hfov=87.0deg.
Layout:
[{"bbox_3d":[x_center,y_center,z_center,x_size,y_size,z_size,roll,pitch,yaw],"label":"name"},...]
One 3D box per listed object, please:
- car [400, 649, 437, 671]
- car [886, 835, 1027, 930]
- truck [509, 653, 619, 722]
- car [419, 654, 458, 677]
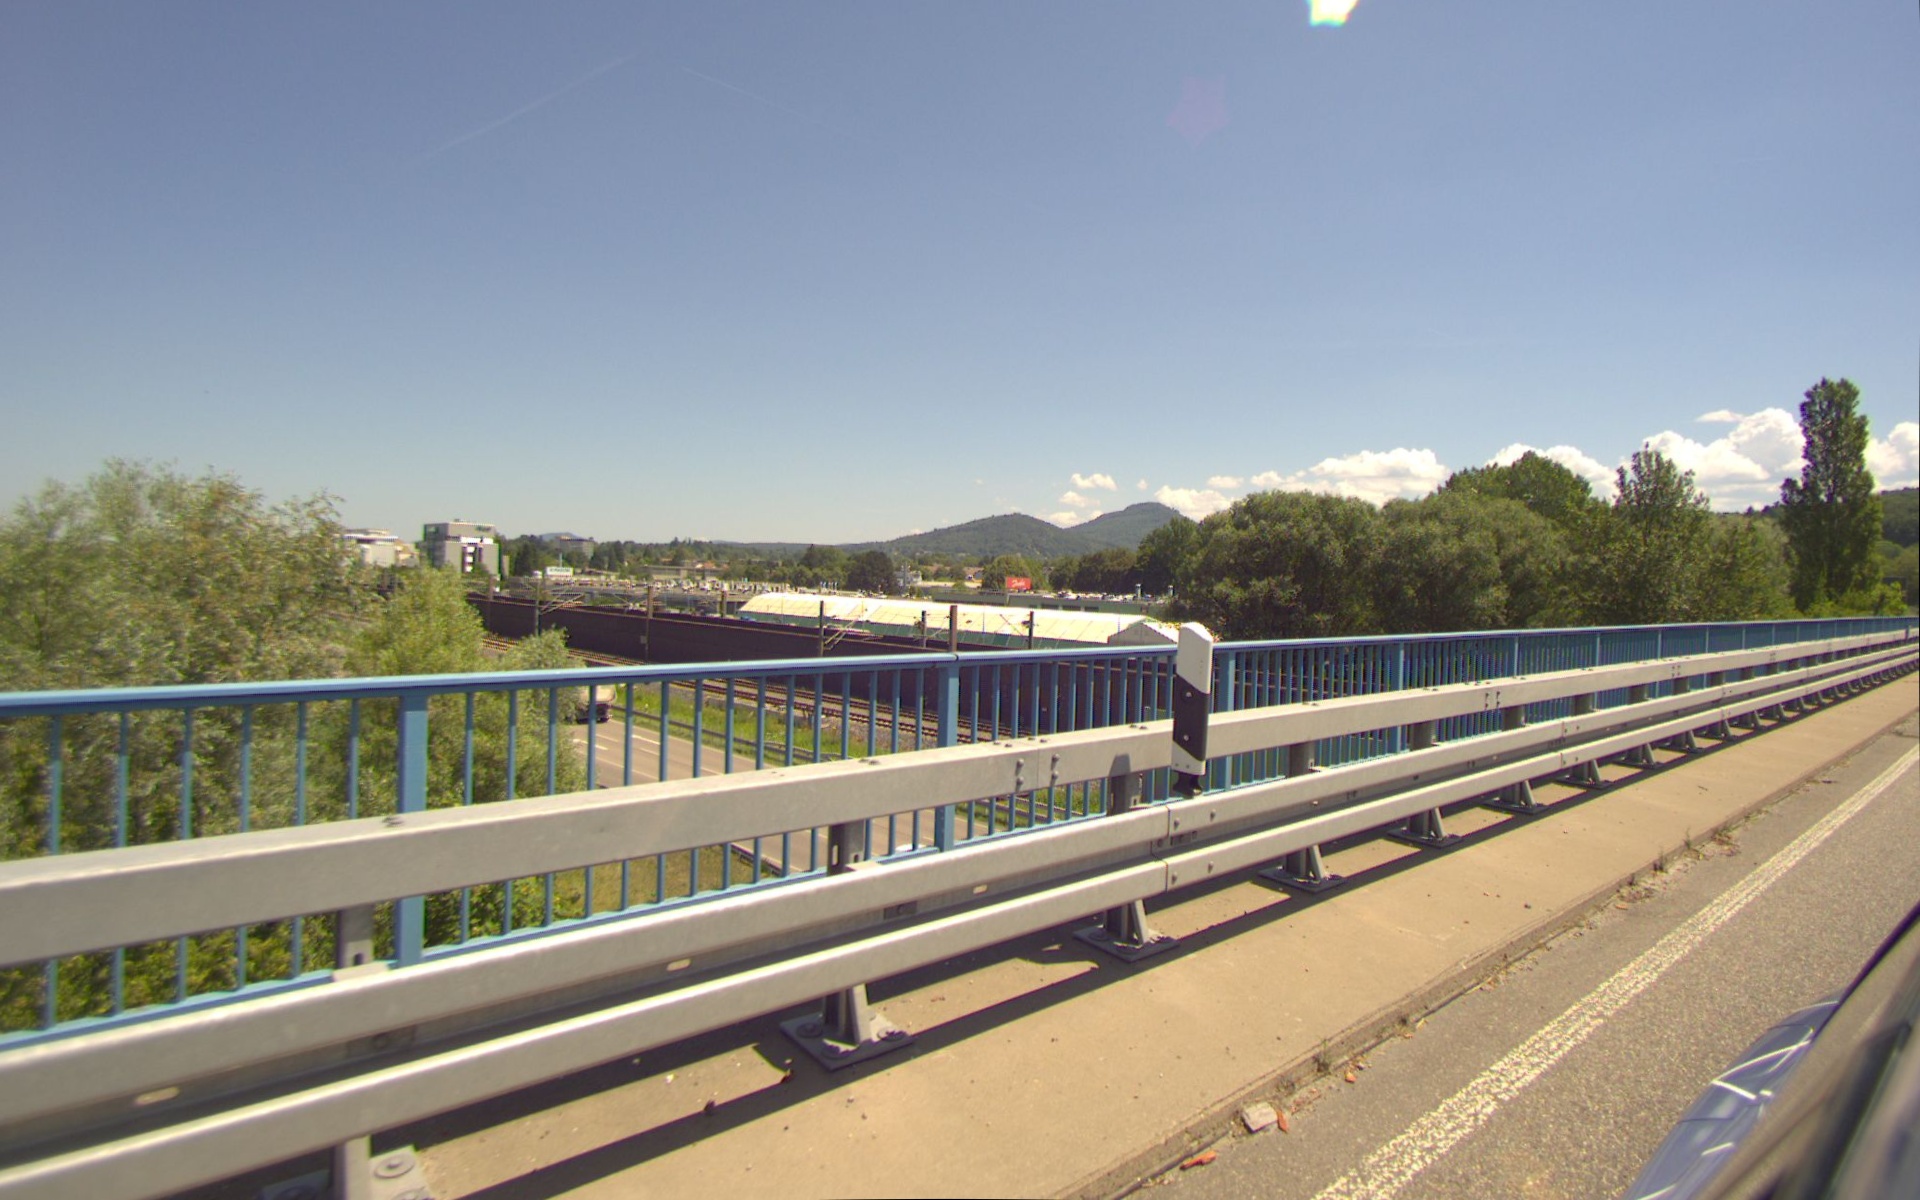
[{"bbox_3d":[-49.880,5.516,93.203,1.965,1.638,4.236,3,0,-42],"label":"car"},{"bbox_3d":[-0.173,8.655,31.408,1.966,1.638,4.234,3,0,-44],"label":"car"},{"bbox_3d":[-27.562,5.869,70.033,2.827,3.467,11.916,2,1,-43],"label":"truck"},{"bbox_3d":[-45.378,5.674,87.988,1.965,1.638,4.236,3,0,-42],"label":"car"}]
